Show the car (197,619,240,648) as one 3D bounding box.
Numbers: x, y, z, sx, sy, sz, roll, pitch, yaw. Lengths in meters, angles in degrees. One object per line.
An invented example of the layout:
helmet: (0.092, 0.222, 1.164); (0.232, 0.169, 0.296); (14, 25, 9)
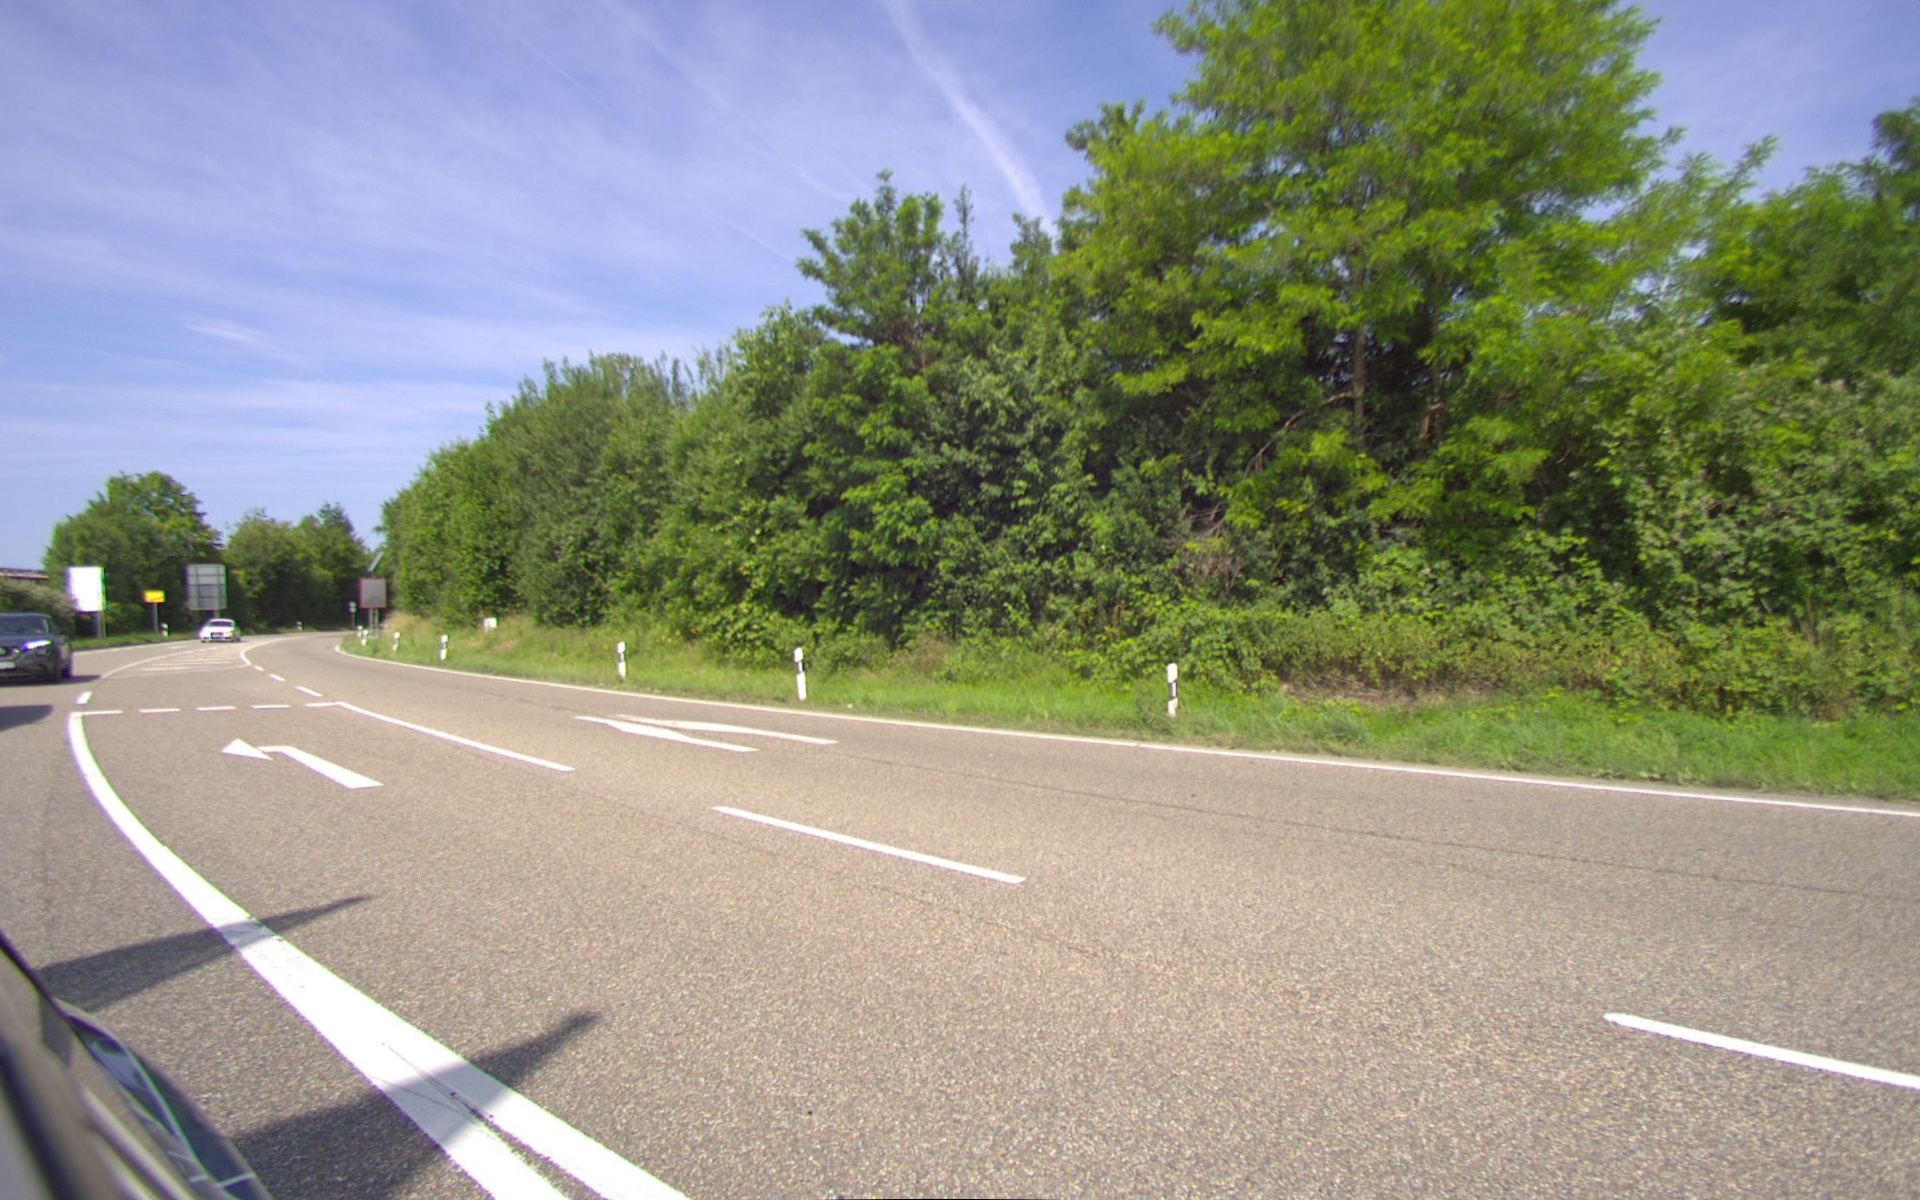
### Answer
car: (-46.523, 2.077, 63.572); (1.837, 1.653, 4.434); (-1, 0, -32)

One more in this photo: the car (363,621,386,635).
car: (-72.880, 3.517, 126.084); (1.837, 1.653, 4.013); (-1, 0, -21)

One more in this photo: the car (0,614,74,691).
car: (-20.922, 1.130, 22.474); (1.794, 1.552, 3.731); (-1, 0, -42)
